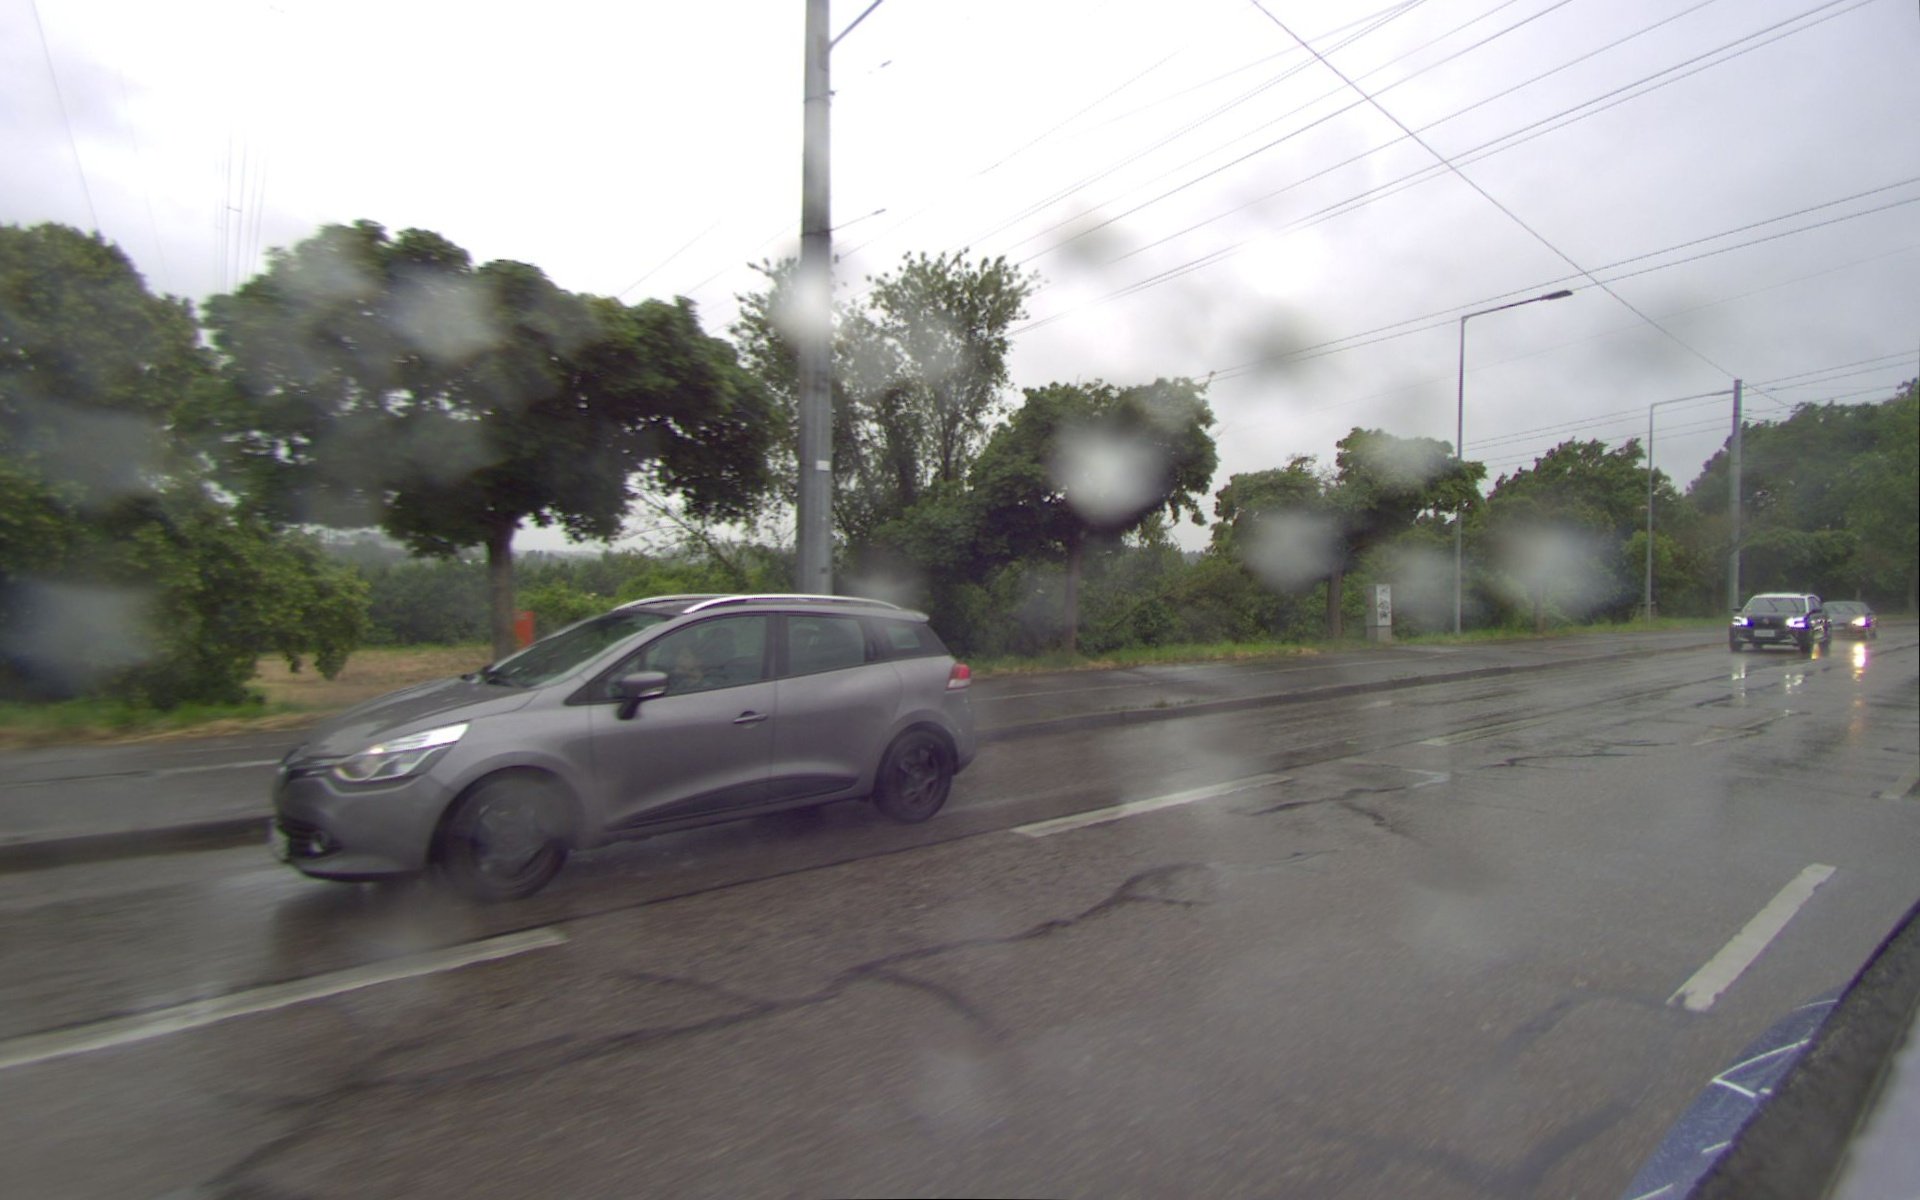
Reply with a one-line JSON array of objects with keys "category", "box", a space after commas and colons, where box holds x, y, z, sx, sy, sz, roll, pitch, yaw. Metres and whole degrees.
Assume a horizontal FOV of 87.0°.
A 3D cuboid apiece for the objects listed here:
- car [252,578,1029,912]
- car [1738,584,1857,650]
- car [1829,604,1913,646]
[{"category": "car", "box": [-1.733, 0.616, 6.274, 4.201, 1.374, 1.891, 1, -1, -40]}, {"category": "car", "box": [23.666, 0.453, 28.551, 4.678, 1.724, 1.796, 1, -1, -40]}, {"category": "car", "box": [33.658, 0.888, 37.376, 3.929, 1.445, 1.783, 1, 0, -40]}]
